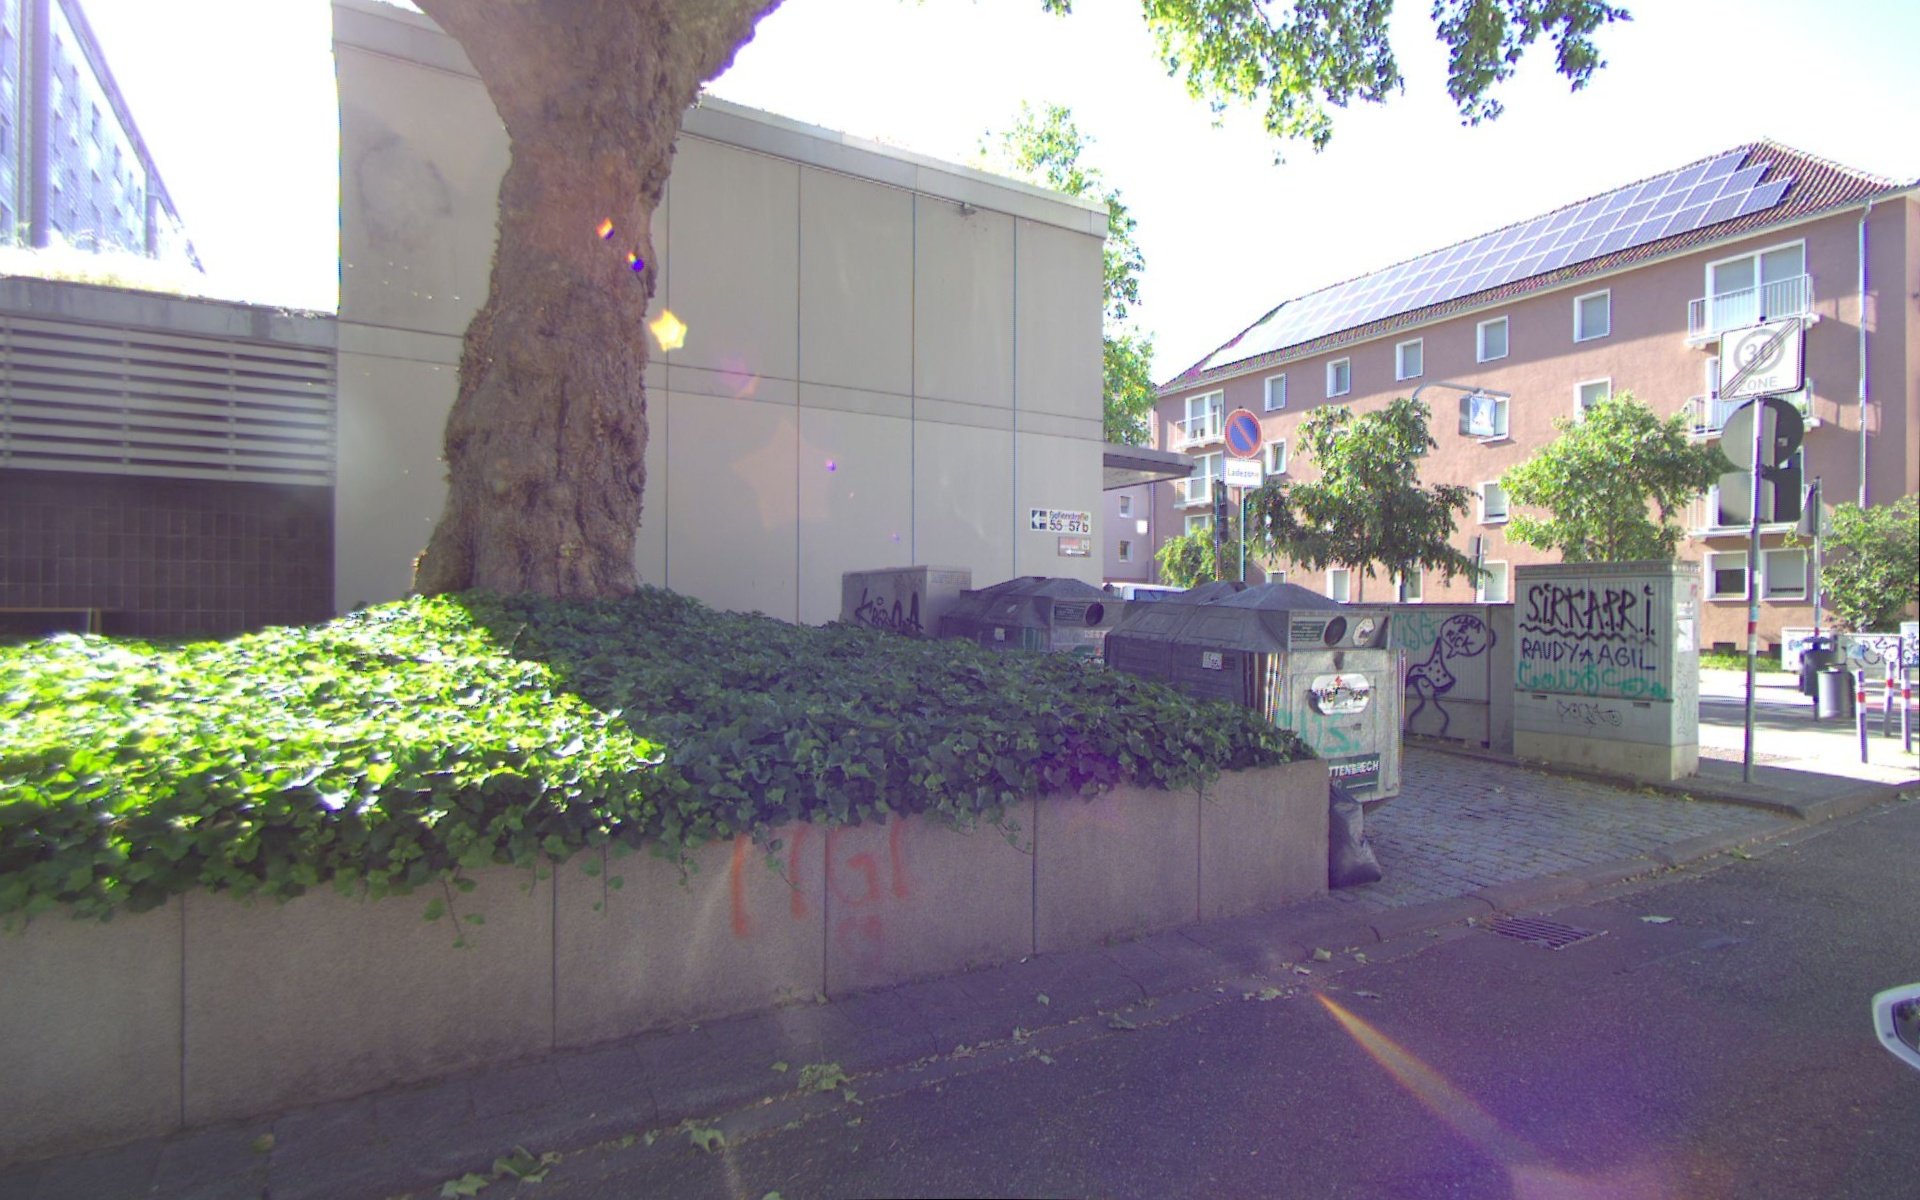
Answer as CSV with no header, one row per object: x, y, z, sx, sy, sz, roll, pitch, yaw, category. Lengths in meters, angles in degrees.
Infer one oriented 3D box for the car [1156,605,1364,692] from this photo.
6.207,0.939,20.662,4.256,1.634,1.743,1,-1,-32,car

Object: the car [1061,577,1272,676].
4.755,0.646,22.874,4.694,2.032,1.942,3,-2,-33,car
